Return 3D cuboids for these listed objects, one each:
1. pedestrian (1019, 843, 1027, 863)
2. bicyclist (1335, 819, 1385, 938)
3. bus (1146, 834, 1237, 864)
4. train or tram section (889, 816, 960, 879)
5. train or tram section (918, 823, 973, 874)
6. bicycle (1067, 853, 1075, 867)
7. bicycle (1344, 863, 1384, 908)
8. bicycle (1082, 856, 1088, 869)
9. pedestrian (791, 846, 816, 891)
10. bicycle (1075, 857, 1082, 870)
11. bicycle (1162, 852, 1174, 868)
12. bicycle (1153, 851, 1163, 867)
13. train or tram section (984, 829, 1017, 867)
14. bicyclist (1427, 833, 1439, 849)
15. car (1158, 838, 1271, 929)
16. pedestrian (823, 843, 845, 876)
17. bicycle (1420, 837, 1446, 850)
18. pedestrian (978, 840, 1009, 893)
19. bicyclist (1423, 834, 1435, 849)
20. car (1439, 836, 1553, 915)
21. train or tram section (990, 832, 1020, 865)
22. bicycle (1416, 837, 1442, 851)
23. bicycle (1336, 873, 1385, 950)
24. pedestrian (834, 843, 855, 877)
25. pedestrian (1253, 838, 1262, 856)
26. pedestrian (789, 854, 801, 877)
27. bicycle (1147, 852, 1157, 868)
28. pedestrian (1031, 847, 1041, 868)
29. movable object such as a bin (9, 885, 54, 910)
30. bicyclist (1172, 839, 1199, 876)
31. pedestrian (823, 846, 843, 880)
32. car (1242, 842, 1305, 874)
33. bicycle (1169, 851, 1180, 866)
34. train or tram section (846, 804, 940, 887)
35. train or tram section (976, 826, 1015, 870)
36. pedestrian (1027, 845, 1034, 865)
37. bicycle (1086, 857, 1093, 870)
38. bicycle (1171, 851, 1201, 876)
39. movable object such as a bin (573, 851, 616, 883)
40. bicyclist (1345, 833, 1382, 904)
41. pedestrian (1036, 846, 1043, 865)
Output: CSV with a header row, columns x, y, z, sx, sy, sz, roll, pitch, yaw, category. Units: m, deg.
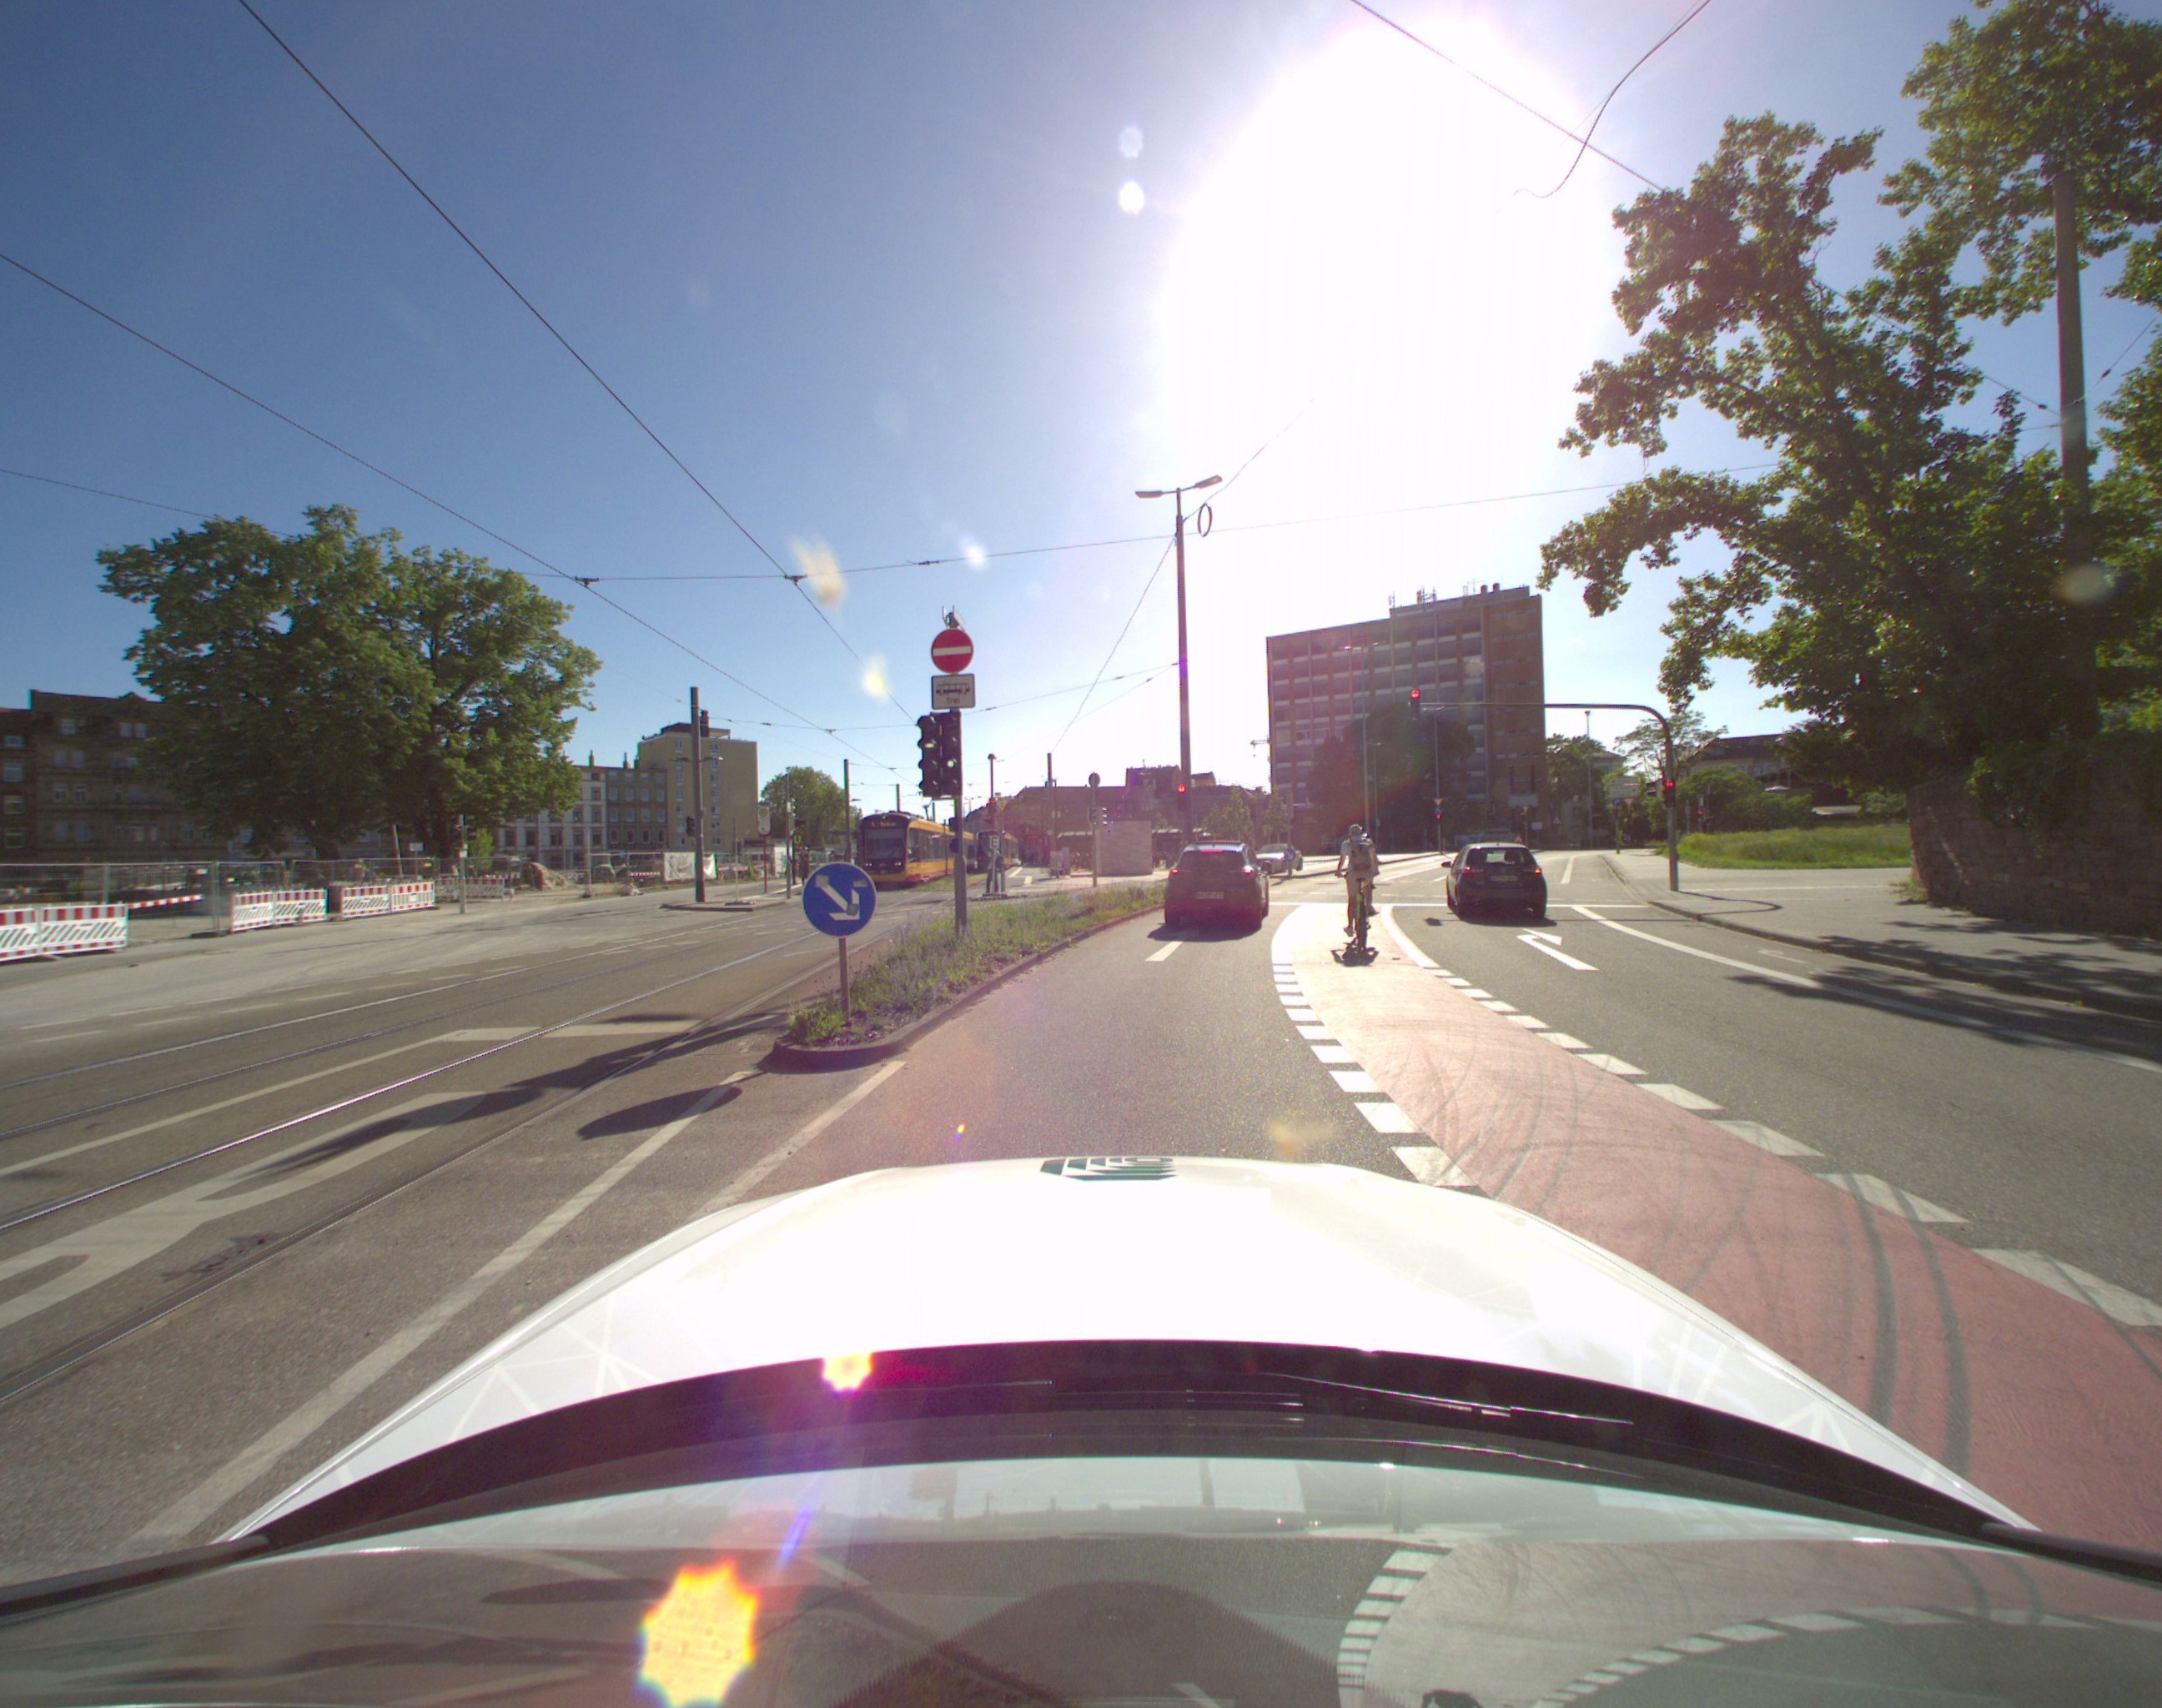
x,y,z,sx,sy,sz,roll,pitch,yaw,category
-5.727,-0.086,80.250,0.739,1.917,0.741,0,0,-4,pedestrian
4.284,0.360,12.550,0.658,1.747,1.010,-1,0,17,bicyclist
13.313,-0.503,99.537,2.897,3.396,12.301,0,-1,-39,bus
-9.607,-0.396,51.119,2.810,3.508,10.600,-1,0,-3,train or tram section
-10.122,-0.394,62.001,2.810,3.508,11.199,-1,0,-3,train or tram section
-0.776,0.447,63.361,0.564,1.093,2.029,0,-1,0,bicycle
6.714,0.725,19.261,0.716,0.960,1.894,0,1,24,bicycle
0.311,0.664,63.611,0.420,0.938,1.378,0,0,-1,bicycle
-11.839,0.600,34.763,0.760,1.850,0.901,-2,2,-5,pedestrian
-0.157,0.681,58.579,0.421,0.938,1.304,0,0,-4,bicycle
5.653,0.394,52.878,0.578,0.961,2.059,0,-1,2,bicycle
5.517,0.354,58.665,0.578,1.088,2.059,0,-1,2,bicycle
-7.988,-0.580,82.149,2.865,3.508,10.530,-1,0,-3,train or tram section
42.355,-1.522,97.942,1.195,1.897,0.890,-1,-1,35,bicyclist
2.791,0.504,16.362,1.809,1.600,3.674,0,1,16,car
-15.199,0.361,50.128,0.957,2.014,1.000,0,-1,3,pedestrian
42.356,-1.233,97.954,2.774,1.541,0.890,-1,-1,35,bicycle
-3.100,0.447,28.836,1.017,1.832,0.757,0,-1,-14,pedestrian
42.590,-1.573,99.611,1.146,1.797,0.890,-1,-1,35,bicyclist
8.988,0.418,17.918,1.741,1.541,3.676,-1,0,19,car
-8.565,-0.634,92.740,2.865,3.507,10.530,-1,0,-3,train or tram section
42.591,-1.214,99.613,2.774,1.541,0.890,-1,-1,35,bicycle
4.323,0.851,12.678,0.657,1.047,1.899,-1,0,17,bicycle
-14.314,0.378,49.298,0.957,2.014,1.000,0,-1,3,pedestrian
18.613,-0.770,85.977,0.723,1.857,0.703,0,-1,0,pedestrian
-21.810,0.869,62.100,0.666,1.767,0.799,-2,0,-5,pedestrian
4.587,0.400,52.683,0.578,1.058,1.817,0,-1,2,bicycle
-4.034,0.286,73.473,0.846,1.883,0.759,0,-1,-5,pedestrian
-79.640,3.276,61.841,3.753,1.680,1.761,-1,1,42,movable object such as a bin
4.851,0.156,37.810,0.872,1.644,1.066,-2,-1,25,bicyclist
-13.263,0.503,43.530,0.866,1.767,0.965,-2,0,-25,pedestrian
9.281,0.163,39.052,1.783,1.393,4.118,-2,0,30,car
6.714,0.343,58.527,0.578,1.088,2.059,0,-1,2,bicycle
-9.033,-0.404,40.534,2.812,3.507,10.464,-2,0,-4,train or tram section
-7.365,-0.514,71.564,2.865,3.508,10.530,-1,0,-3,train or tram section
-4.765,0.075,77.124,0.632,1.857,0.701,0,-1,-9,pedestrian
0.629,0.677,58.780,0.421,0.938,1.304,0,0,-4,bicycle
4.893,0.439,37.742,0.766,1.080,2.047,-2,-1,25,bicycle
-43.385,1.176,72.611,3.948,2.796,1.845,-1,-1,35,movable object such as a bin
6.638,0.319,19.093,0.715,1.625,1.061,0,1,24,bicyclist
-4.163,0.128,81.694,0.671,1.857,0.703,0,-1,2,pedestrian
